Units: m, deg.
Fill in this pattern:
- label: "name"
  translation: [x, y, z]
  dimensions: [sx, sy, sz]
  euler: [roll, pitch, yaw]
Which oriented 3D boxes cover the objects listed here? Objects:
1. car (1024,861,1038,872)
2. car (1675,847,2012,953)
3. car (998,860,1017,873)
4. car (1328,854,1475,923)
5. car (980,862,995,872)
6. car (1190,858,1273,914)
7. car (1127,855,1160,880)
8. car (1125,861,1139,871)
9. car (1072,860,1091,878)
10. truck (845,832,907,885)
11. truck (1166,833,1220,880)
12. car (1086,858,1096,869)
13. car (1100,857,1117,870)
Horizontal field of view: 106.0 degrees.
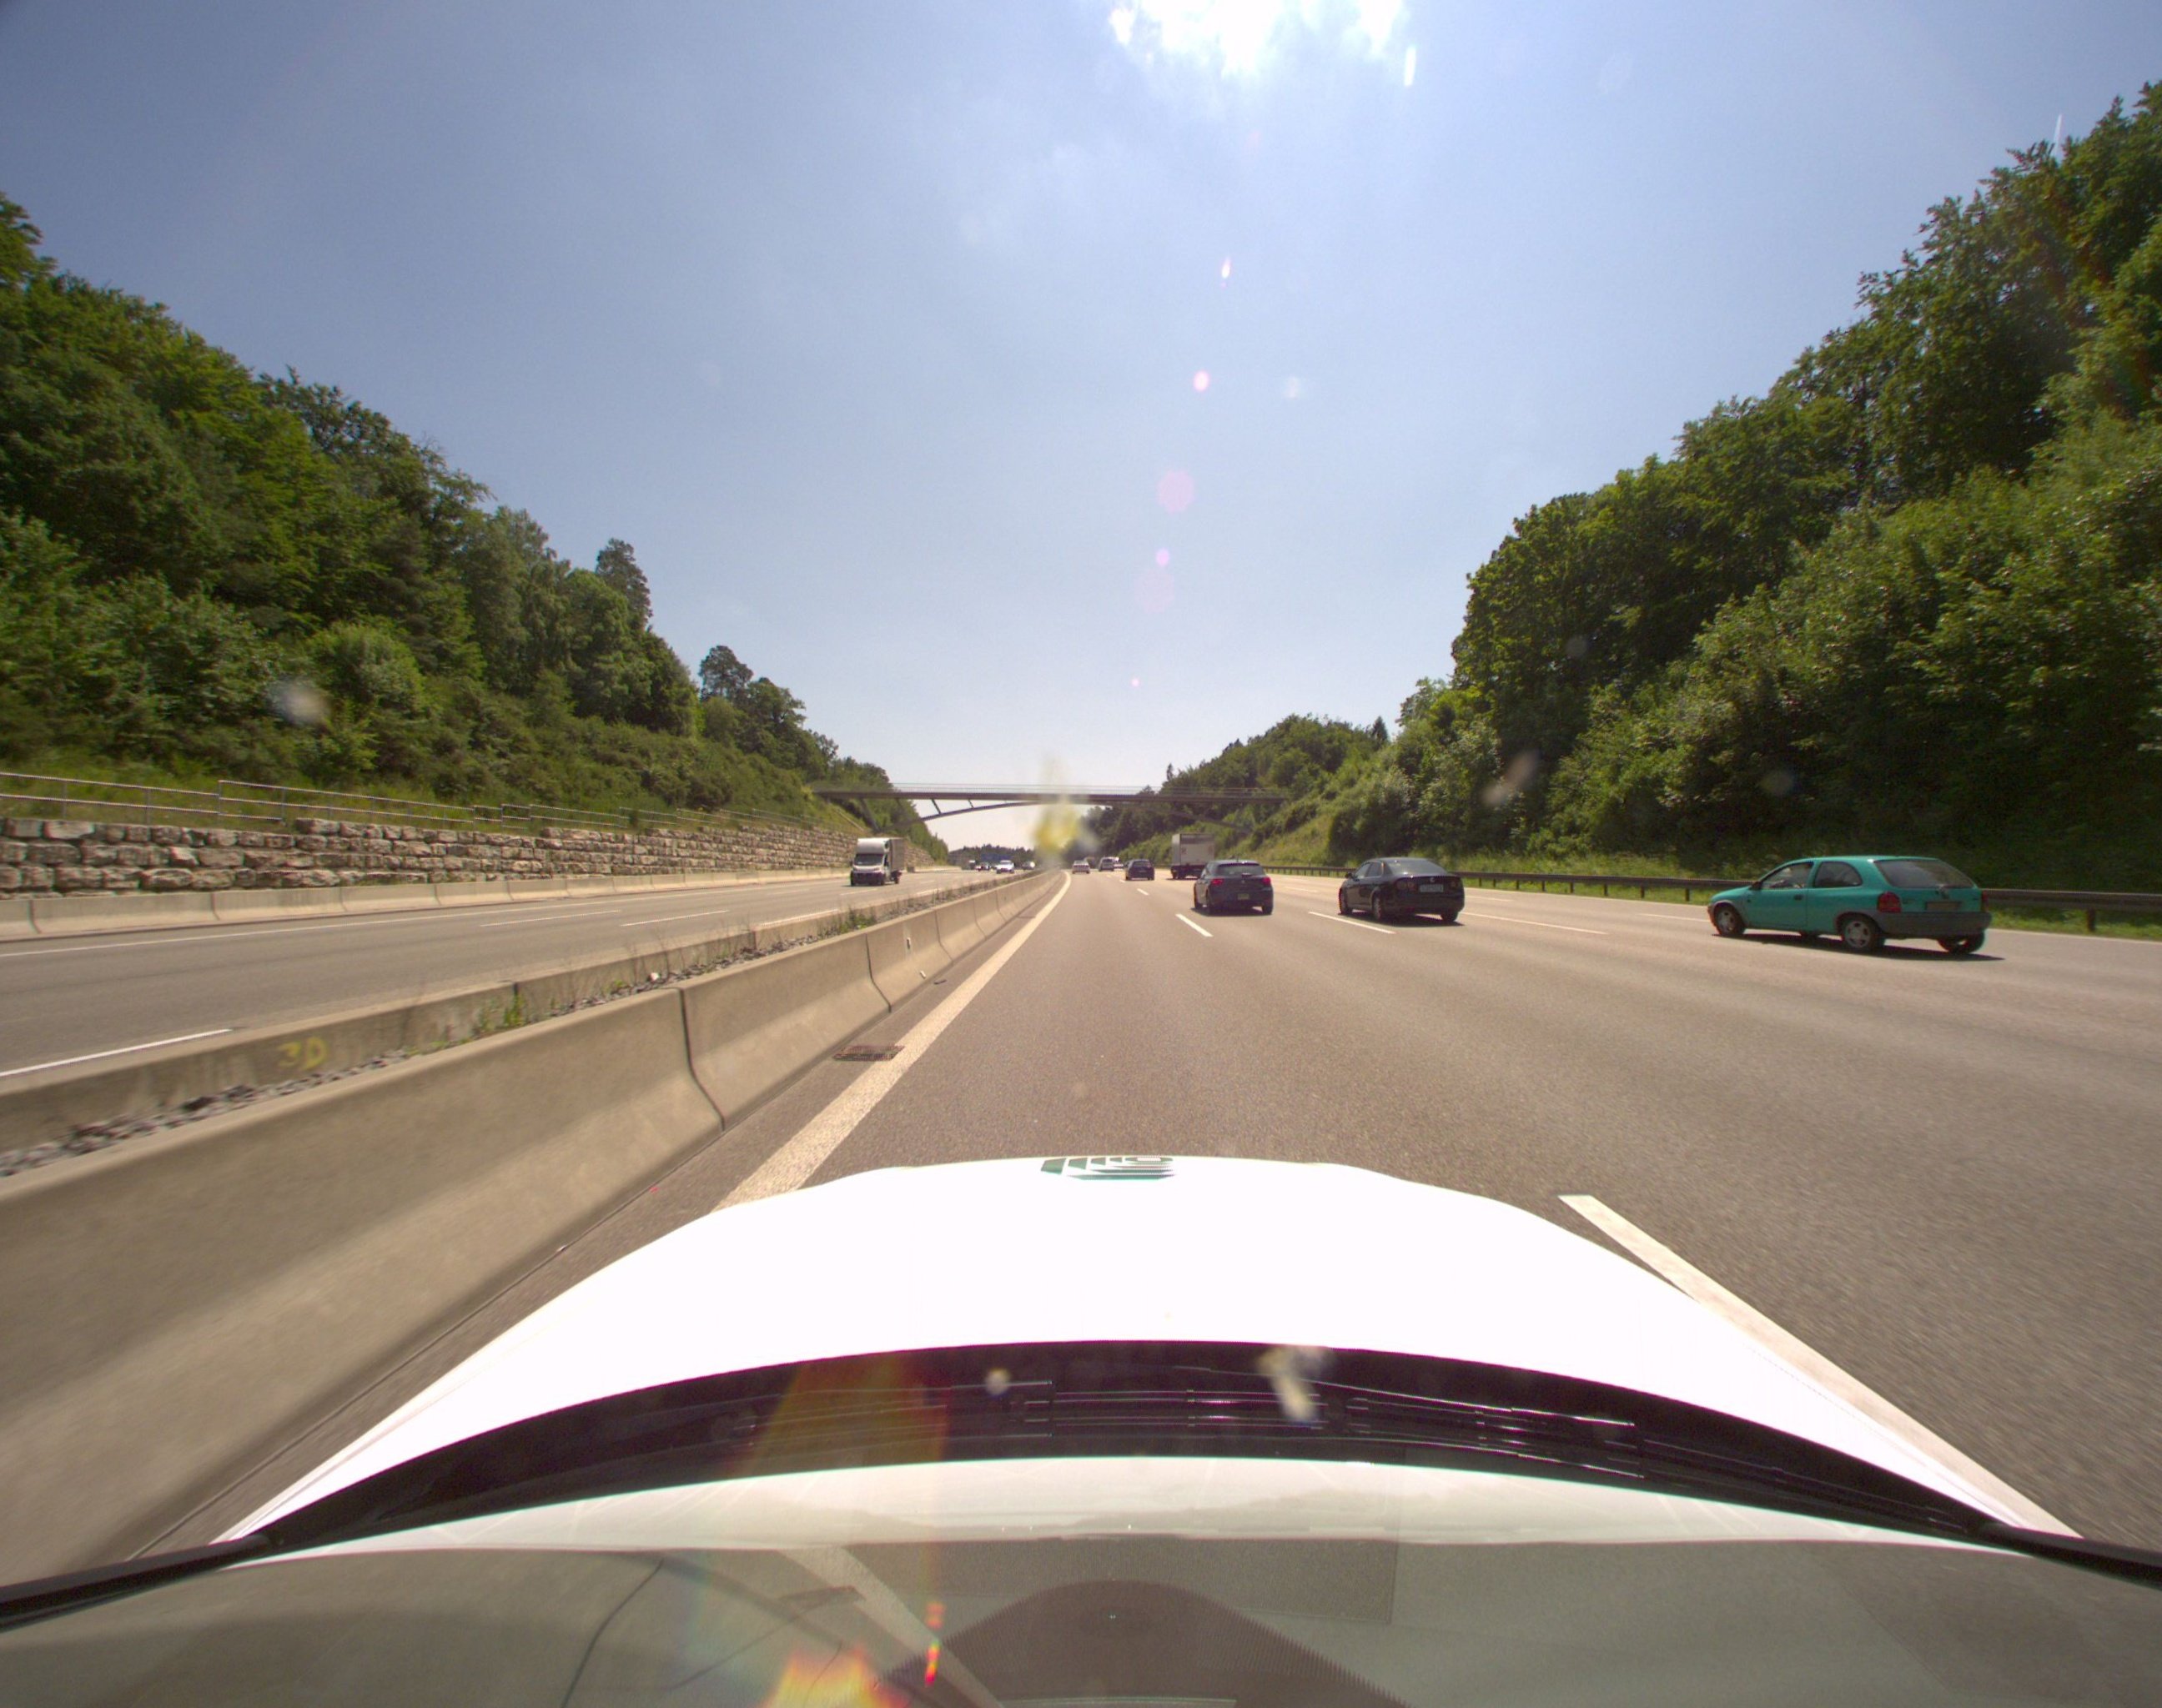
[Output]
- label: "car"
  translation: [-8.328, 2.054, 135.105]
  dimensions: [1.987, 1.618, 3.999]
  euler: [-1, 0, 0]
- label: "car"
  translation: [11.999, 0.642, 13.303]
  dimensions: [1.538, 1.444, 4.343]
  euler: [-1, 0, 2]
- label: "car"
  translation: [-8.768, 1.465, 97.202]
  dimensions: [1.895, 1.496, 4.803]
  euler: [-1, 0, -1]
- label: "car"
  translation: [7.364, 0.709, 19.279]
  dimensions: [1.659, 1.408, 4.904]
  euler: [-1, 0, 1]
- label: "car"
  translation: [-15.146, 2.113, 132.389]
  dimensions: [1.987, 1.618, 3.999]
  euler: [-1, 0, 0]
- label: "car"
  translation: [4.098, 0.823, 22.712]
  dimensions: [1.701, 1.433, 4.001]
  euler: [0, 0, 2]
- label: "car"
  translation: [4.325, 0.918, 56.875]
  dimensions: [1.987, 1.634, 4.760]
  euler: [-1, 0, 1]
- label: "car"
  translation: [8.436, 1.970, 133.986]
  dimensions: [1.987, 1.593, 3.998]
  euler: [1, -1, -1]
- label: "car"
  translation: [0.016, 1.632, 88.740]
  dimensions: [2.006, 1.846, 3.996]
  euler: [0, -4, -1]
- label: "truck"
  translation: [-13.007, 0.267, 52.283]
  dimensions: [2.269, 3.143, 6.916]
  euler: [1, 0, -1]
- label: "truck"
  translation: [7.982, 0.174, 59.015]
  dimensions: [2.975, 3.167, 7.575]
  euler: [-1, 0, 1]
- label: "car"
  translation: [2.196, 2.017, 180.330]
  dimensions: [2.258, 2.371, 4.701]
  euler: [-1, -1, 0]
- label: "car"
  translation: [3.622, 1.238, 107.659]
  dimensions: [2.096, 1.744, 4.687]
  euler: [-1, 0, 0]
